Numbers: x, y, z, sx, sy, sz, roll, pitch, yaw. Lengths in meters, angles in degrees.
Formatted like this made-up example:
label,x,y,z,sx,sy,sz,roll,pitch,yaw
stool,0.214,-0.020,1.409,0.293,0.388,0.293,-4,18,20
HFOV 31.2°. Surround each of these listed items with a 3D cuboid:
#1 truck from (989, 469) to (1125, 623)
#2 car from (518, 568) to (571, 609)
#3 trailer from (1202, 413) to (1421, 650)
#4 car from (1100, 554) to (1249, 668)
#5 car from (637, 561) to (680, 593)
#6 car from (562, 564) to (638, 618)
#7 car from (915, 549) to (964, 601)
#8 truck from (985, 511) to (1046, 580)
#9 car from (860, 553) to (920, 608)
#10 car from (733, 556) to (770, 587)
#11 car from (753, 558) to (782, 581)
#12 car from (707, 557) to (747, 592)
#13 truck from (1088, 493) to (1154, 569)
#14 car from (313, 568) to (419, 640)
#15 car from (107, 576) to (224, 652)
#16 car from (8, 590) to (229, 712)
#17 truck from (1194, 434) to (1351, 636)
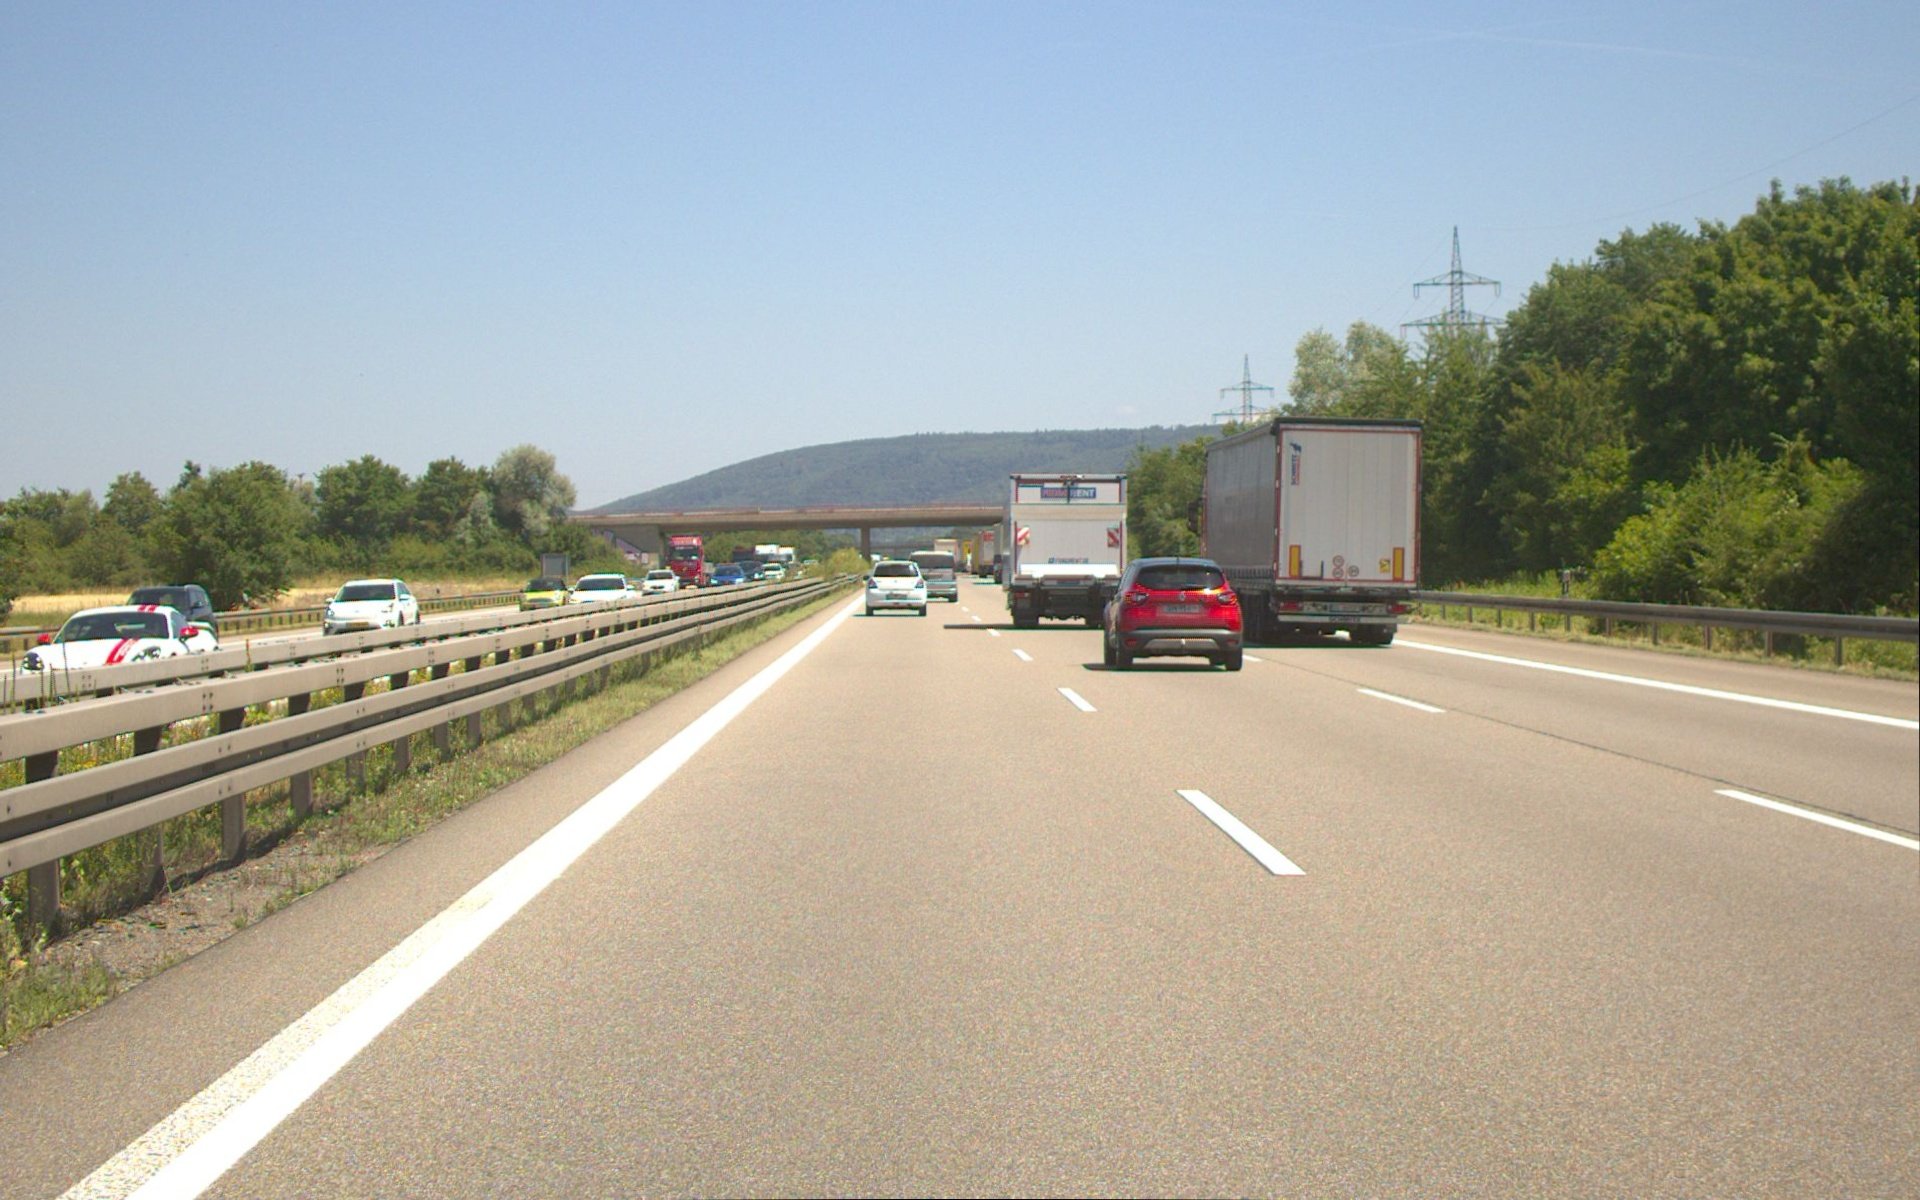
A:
label,x,y,z,sx,sy,sz,roll,pitch,yaw
truck,2.163,-1.231,79.649,2.782,3.361,8.128,0,1,-1
car,-15.622,-0.440,129.341,1.582,1.423,3.477,-2,1,-1
trailer,6.674,-1.297,67.350,2.789,4.149,13.575,0,1,0
car,2.994,0.121,48.629,1.803,1.540,4.000,0,1,-1
car,-15.805,-1.220,180.227,1.879,1.561,4.192,-2,1,-1
car,-10.684,-0.290,102.177,1.795,1.487,4.238,-2,1,-1
car,-0.769,-0.948,127.523,1.761,1.844,4.000,-1,1,0
truck,3.659,-3.622,231.026,3.520,4.401,14.592,-1,1,-1
car,-1.925,-0.558,95.790,1.607,1.462,4.000,-1,1,0
car,-12.294,-1.682,202.772,1.959,1.766,4.443,-1,1,-1
car,-13.513,-2.154,241.612,1.809,1.531,3.962,-2,1,-1
car,-12.087,-1.355,178.422,1.767,1.744,3.986,-2,1,-1
truck,7.059,-3.035,151.964,2.221,3.198,10.385,-1,1,-1
car,-14.136,0.076,81.962,1.835,1.579,3.889,-2,1,-1
car,-18.011,0.290,78.102,1.733,1.588,3.903,-3,1,-1
car,-10.258,0.591,42.177,1.688,1.310,4.084,-3,1,-1
truck,6.641,-1.382,73.843,2.795,4.149,5.723,0,1,0
